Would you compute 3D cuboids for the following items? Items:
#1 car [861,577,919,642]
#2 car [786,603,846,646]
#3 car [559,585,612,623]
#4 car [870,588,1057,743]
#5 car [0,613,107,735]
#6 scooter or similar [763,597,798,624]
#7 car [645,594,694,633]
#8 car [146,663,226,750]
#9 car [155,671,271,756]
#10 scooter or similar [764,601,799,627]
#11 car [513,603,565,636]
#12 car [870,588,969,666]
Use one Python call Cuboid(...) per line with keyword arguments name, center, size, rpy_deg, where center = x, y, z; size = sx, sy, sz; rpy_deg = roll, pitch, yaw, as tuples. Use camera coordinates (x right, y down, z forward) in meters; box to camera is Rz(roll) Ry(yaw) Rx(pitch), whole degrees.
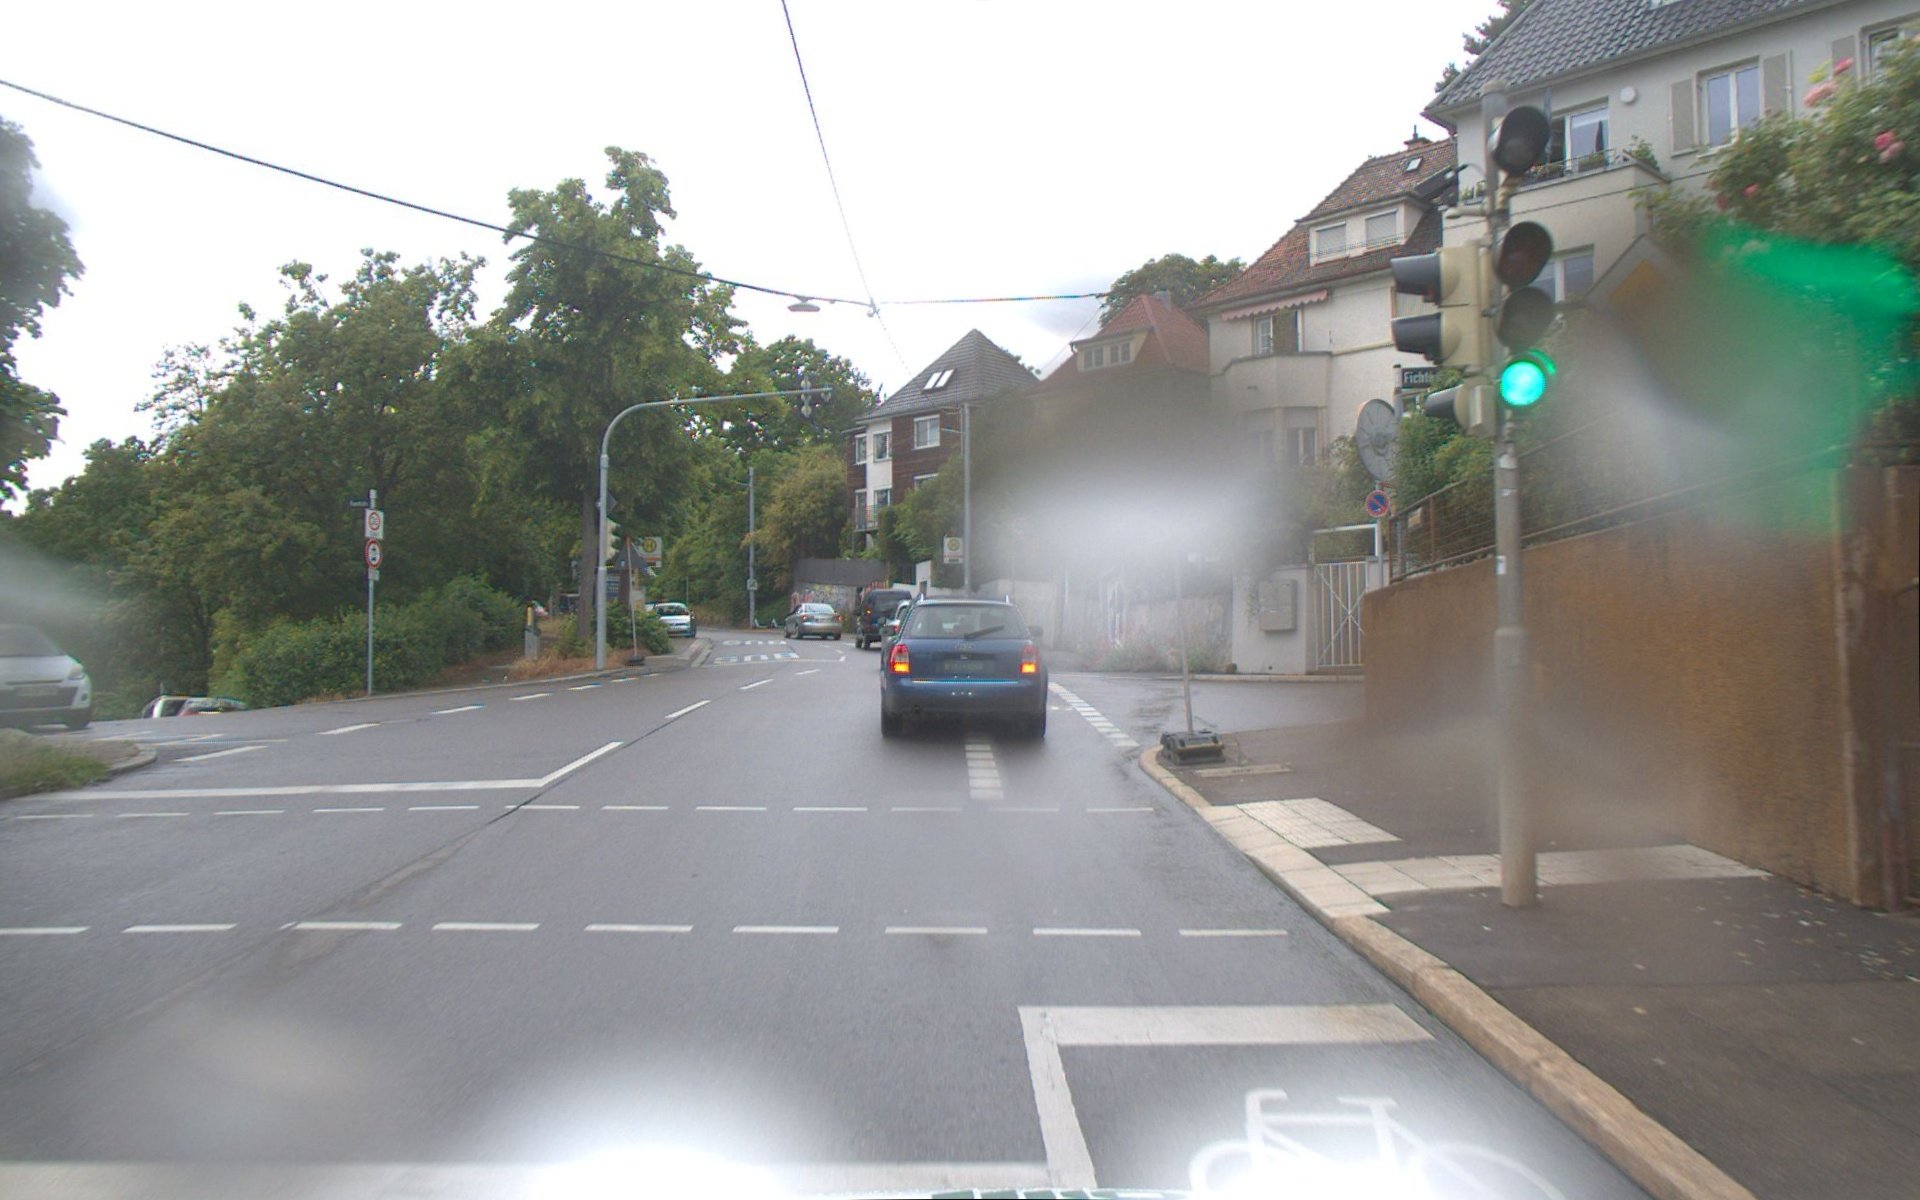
Cuboid(name="car", center=(-2.186, 0.277, 51.972), size=(1.696, 1.927, 4.053), rpy_deg=(-2, 0, -2))
Cuboid(name="car", center=(-5.770, 0.944, 65.820), size=(1.736, 1.597, 4.015), rpy_deg=(-2, 0, -14))
Cuboid(name="car", center=(-19.261, 0.222, 84.935), size=(1.814, 1.875, 3.870), rpy_deg=(-2, 0, -25))
Cuboid(name="car", center=(0.146, 0.621, 18.010), size=(1.740, 1.464, 4.002), rpy_deg=(0, 1, 4))
Cuboid(name="car", center=(-13.624, 1.078, 23.422), size=(1.676, 1.535, 3.947), rpy_deg=(-3, -1, -44))
Cuboid(name="scooter or similar", center=(-10.084, 0.586, 92.893), size=(1.803, 1.338, 0.598), rpy_deg=(5, -4, -14))
Cuboid(name="car", center=(-11.692, 0.521, 66.400), size=(1.645, 1.451, 3.986), rpy_deg=(-2, 0, -14))
Cuboid(name="car", center=(-20.345, 2.766, 43.401), size=(1.727, 2.049, 3.965), rpy_deg=(3, -2, -27))
Cuboid(name="car", center=(-17.679, 2.643, 39.062), size=(1.824, 1.781, 3.953), rpy_deg=(5, -3, -33))
Cuboid(name="scooter or similar", center=(-9.921, 0.783, 91.990), size=(1.803, 1.338, 0.598), rpy_deg=(5, -4, -14))
Cuboid(name="car", center=(-24.192, 1.130, 95.024), size=(1.971, 1.758, 3.963), rpy_deg=(-2, 0, -28))
Cuboid(name="car", center=(-0.889, 0.511, 34.243), size=(1.871, 1.412, 4.348), rpy_deg=(2, 1, -3))
